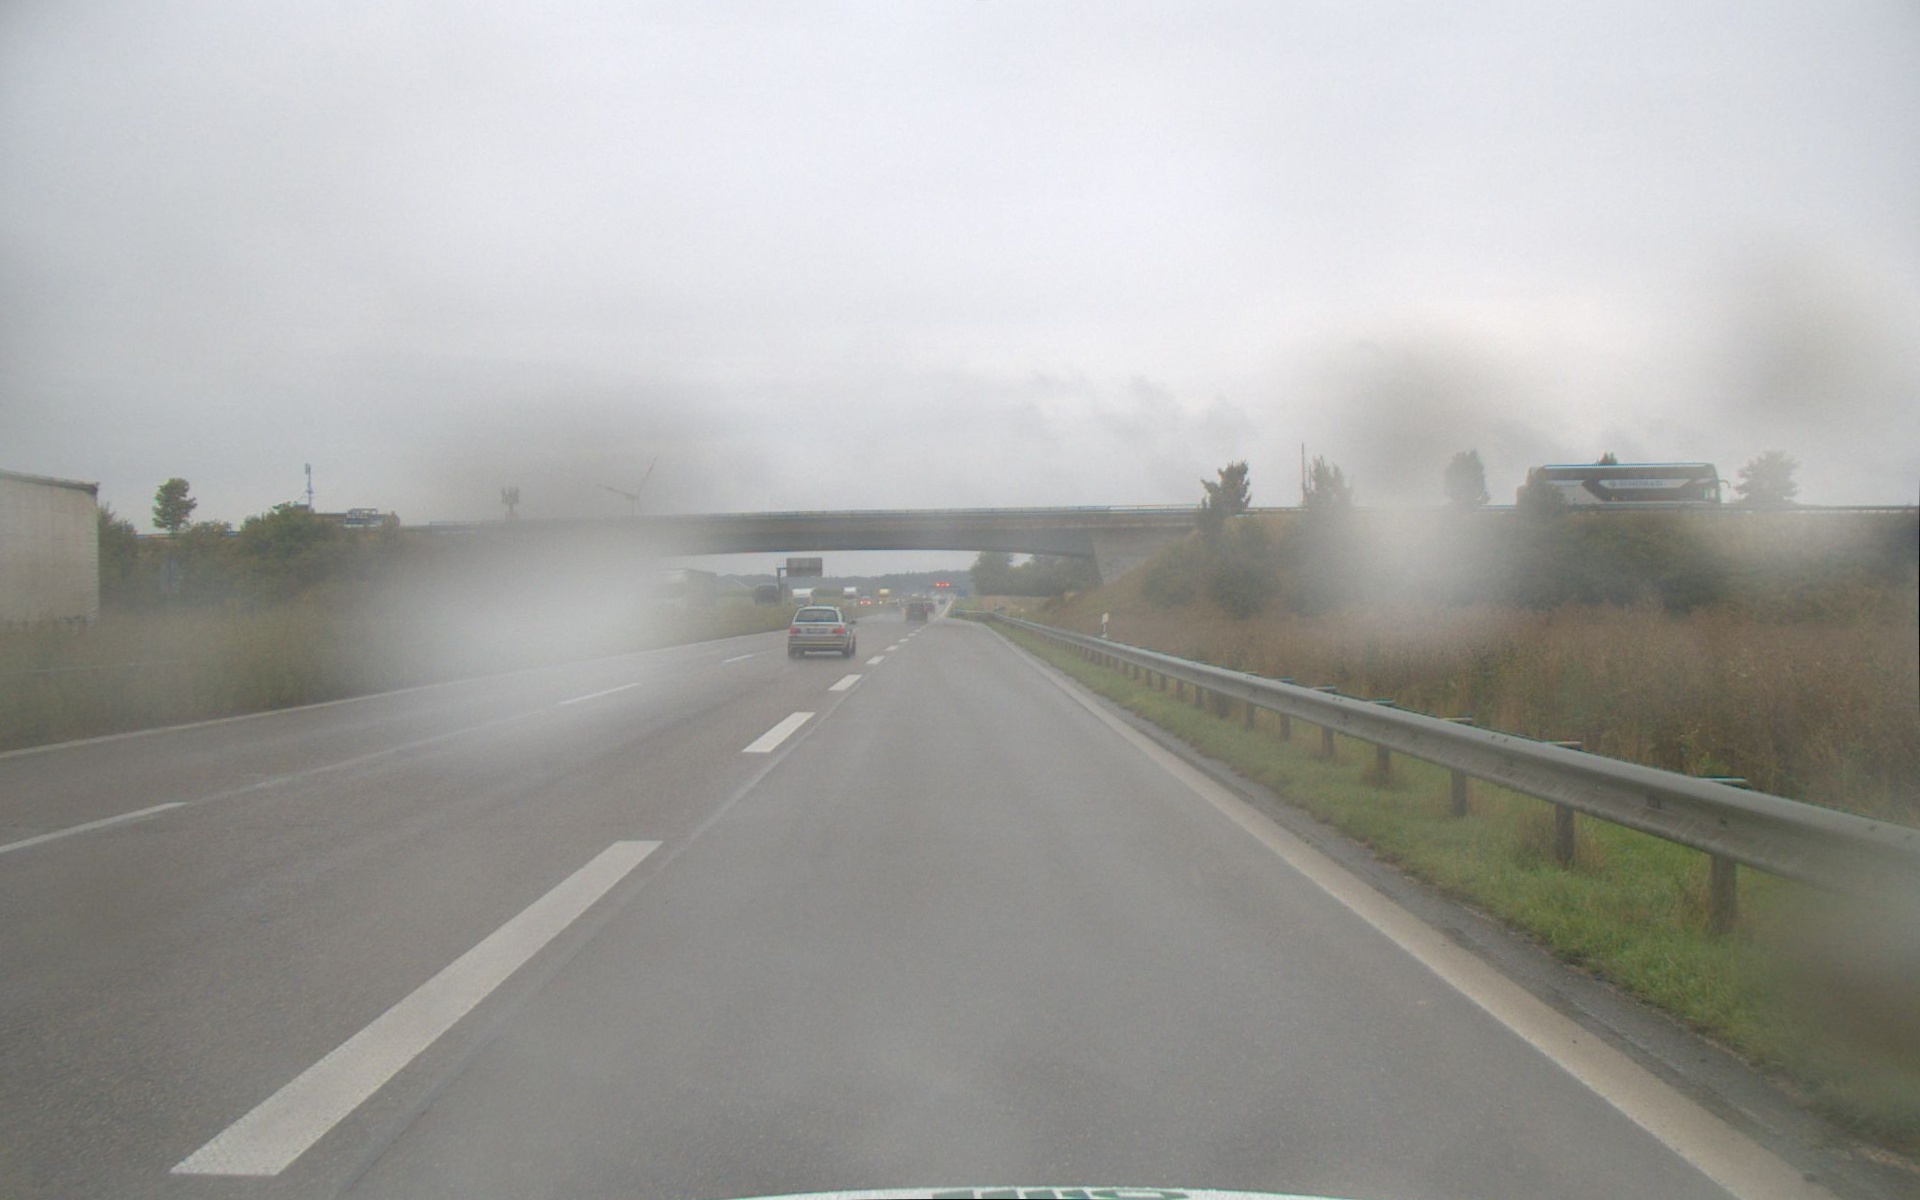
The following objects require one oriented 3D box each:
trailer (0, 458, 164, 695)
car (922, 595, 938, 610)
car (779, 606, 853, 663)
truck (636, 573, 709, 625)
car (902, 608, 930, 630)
[{"bbox_3d":[-19.677,-0.407,32.412,3.163,4.462,10.511,-1,0,-1],"label":"trailer"},{"bbox_3d":[-3.856,0.275,210.021,1.953,1.727,4.000,-2,2,-1],"label":"car"},{"bbox_3d":[-4.074,0.965,47.330,1.836,1.514,4.794,-1,0,-2],"label":"car"},{"bbox_3d":[-20.023,-0.056,115.995,2.930,3.435,11.052,-1,0,1],"label":"truck"},{"bbox_3d":[-3.479,1.529,131.337,2.102,1.665,4.594,1,-1,-1],"label":"car"}]
